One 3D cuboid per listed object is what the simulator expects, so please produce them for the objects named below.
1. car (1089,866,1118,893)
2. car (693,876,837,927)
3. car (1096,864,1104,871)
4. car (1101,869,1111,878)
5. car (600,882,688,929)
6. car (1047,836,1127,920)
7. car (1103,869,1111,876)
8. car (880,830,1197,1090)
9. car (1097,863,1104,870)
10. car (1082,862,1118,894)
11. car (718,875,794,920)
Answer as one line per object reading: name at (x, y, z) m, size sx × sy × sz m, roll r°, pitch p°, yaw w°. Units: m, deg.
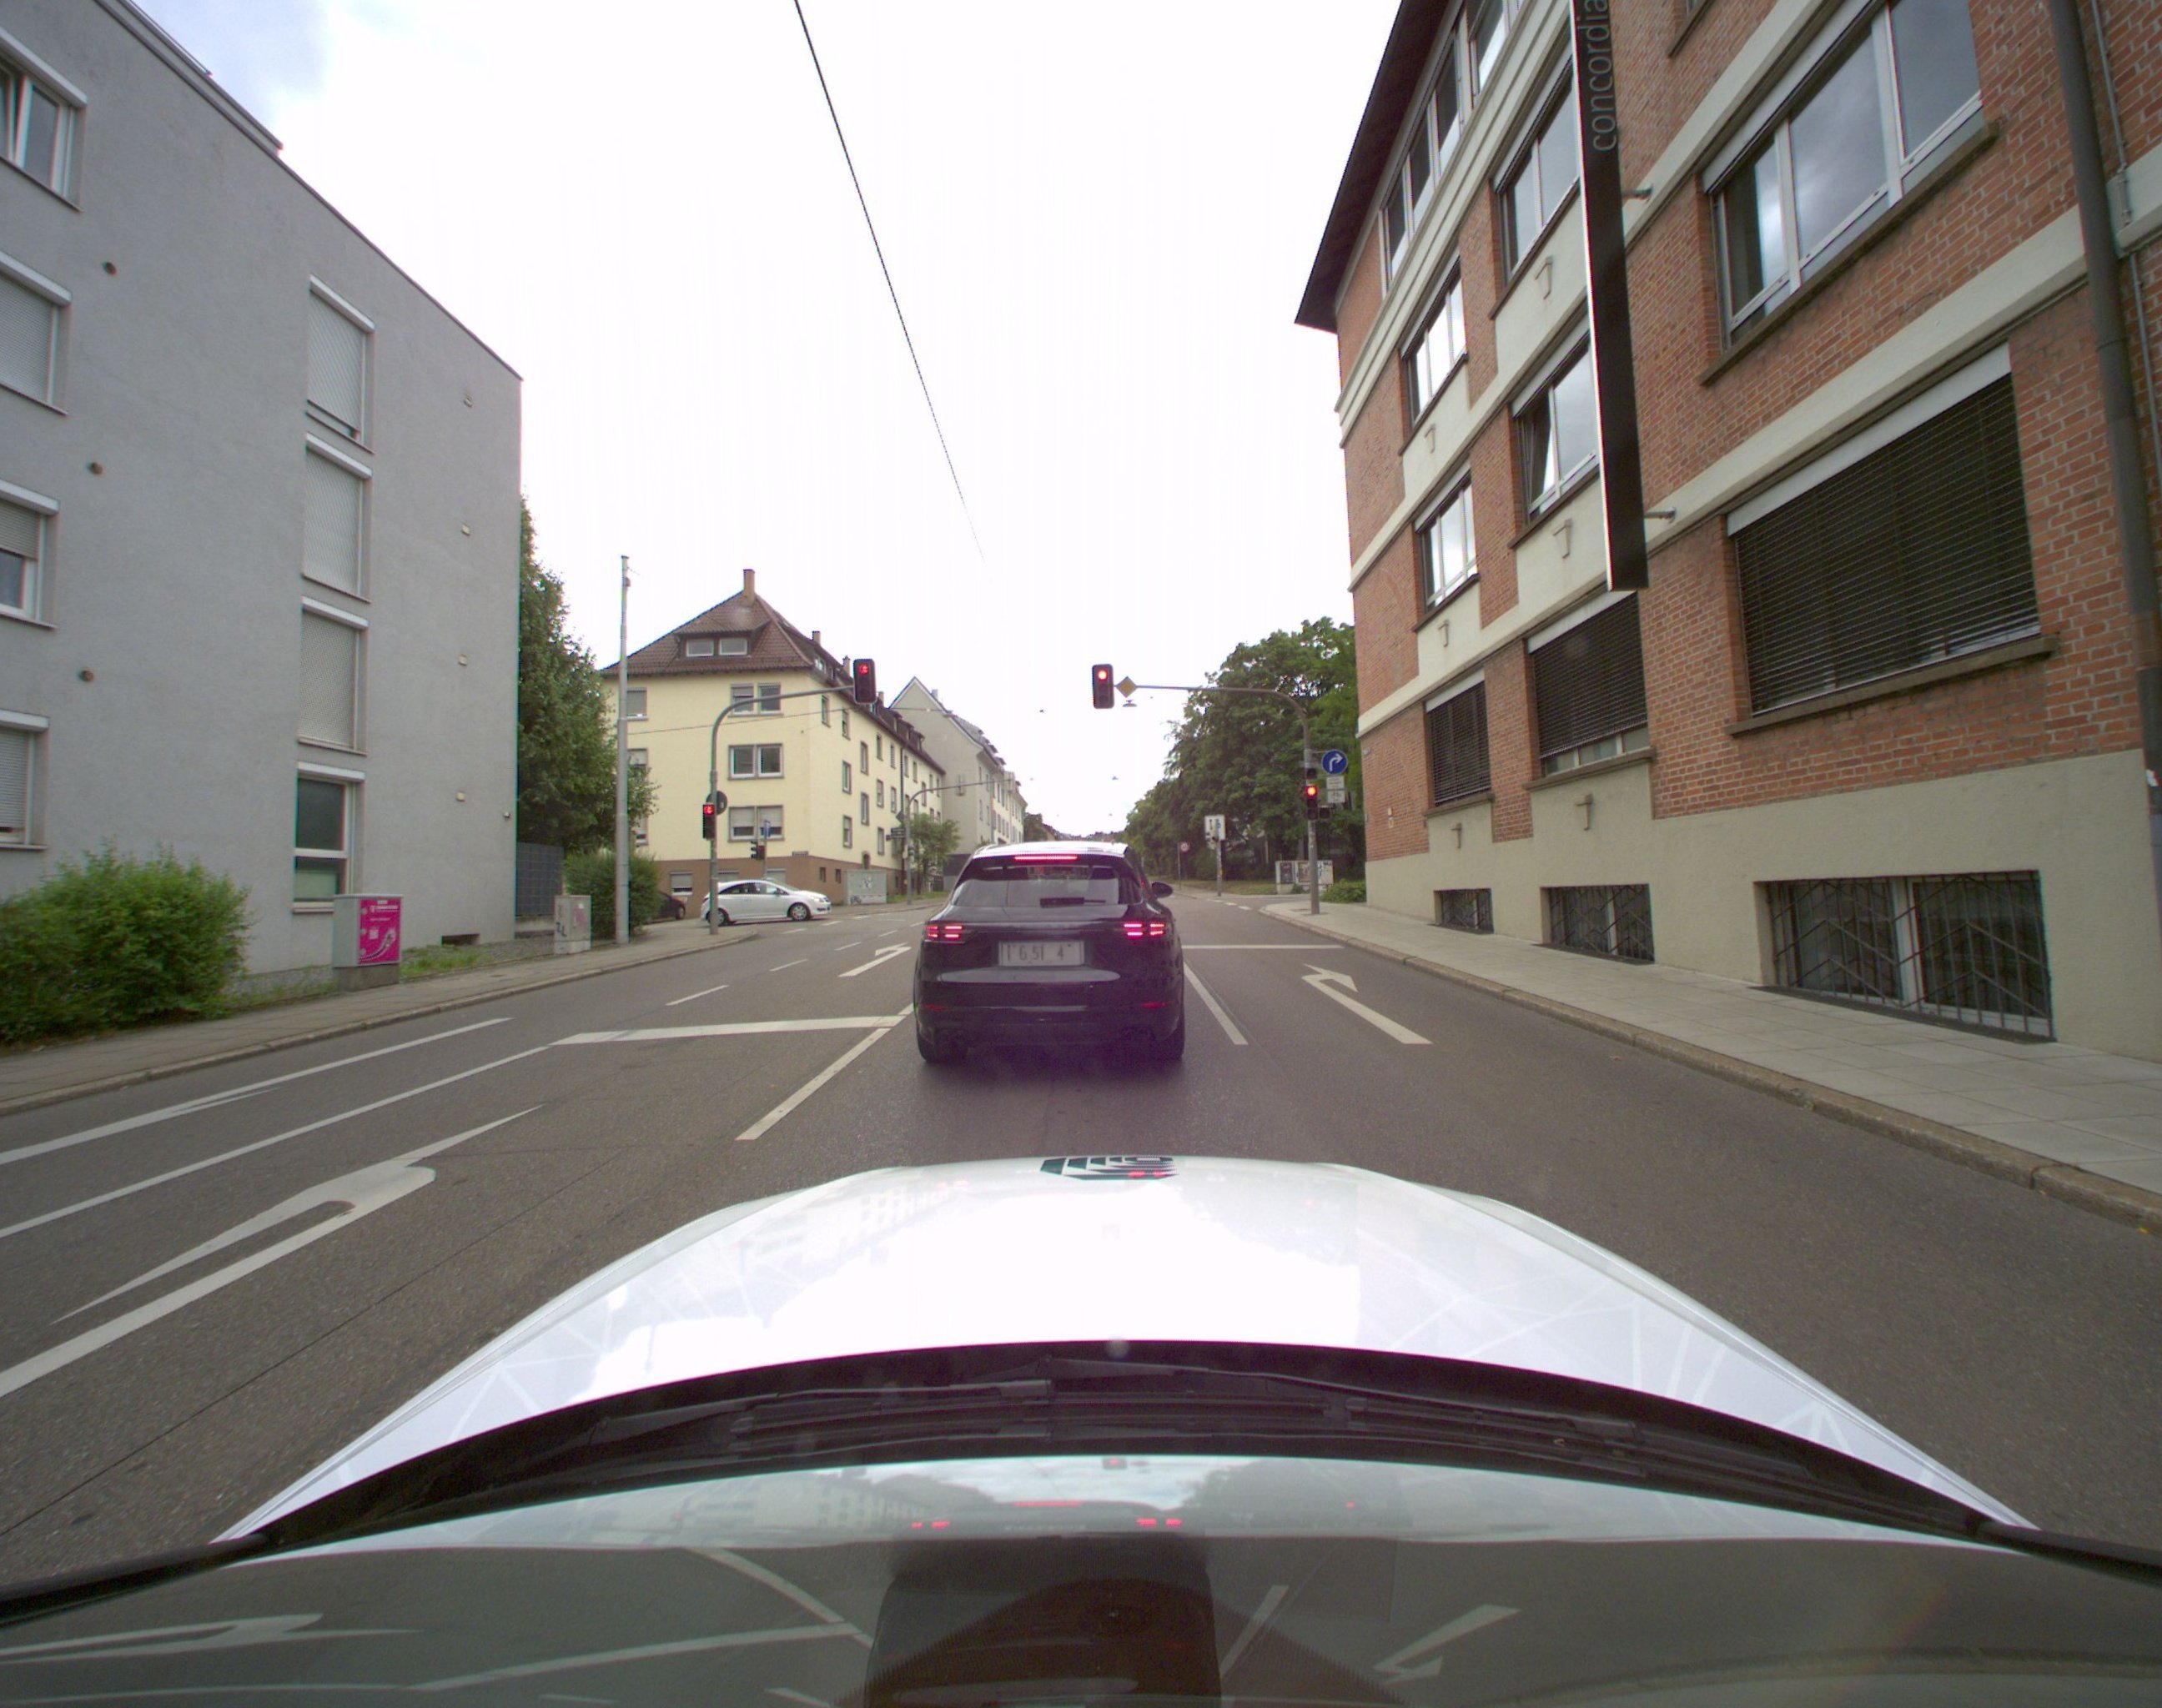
car at (1.467, 1.643, 52.646) m, size 1.820 × 1.605 × 3.860 m, roll 0°, pitch 0°, yaw 2°
car at (-10.254, 1.530, 26.665) m, size 4.053 × 1.392 × 1.691 m, roll -2°, pitch -1°, yaw -9°
car at (4.675, 3.268, 203.062) m, size 1.820 × 1.605 × 4.137 m, roll 0°, pitch 0°, yaw 2°
car at (5.043, 3.876, 163.373) m, size 1.820 × 1.605 × 4.137 m, roll 0°, pitch 0°, yaw 2°
car at (-18.499, 2.136, 34.649) m, size 1.686 × 1.608 × 3.763 m, roll -4°, pitch 0°, yaw -2°
car at (0.224, 0.597, 22.029) m, size 1.957 × 2.042 × 4.137 m, roll 0°, pitch 0°, yaw 2°
car at (5.882, 4.105, 182.539) m, size 1.820 × 1.605 × 4.137 m, roll 0°, pitch 0°, yaw 2°
car at (-0.197, 0.684, 7.379) m, size 2.040 × 1.666 × 4.269 m, roll 0°, pitch 0°, yaw 2°
car at (5.094, 3.242, 210.384) m, size 1.820 × 1.605 × 4.137 m, roll 0°, pitch 0°, yaw 2°
car at (1.052, 1.265, 43.938) m, size 1.820 × 1.605 × 4.137 m, roll 0°, pitch 0°, yaw 2°
car at (-13.535, 1.771, 34.185) m, size 1.686 × 1.555 × 3.763 m, roll -4°, pitch 0°, yaw -2°
